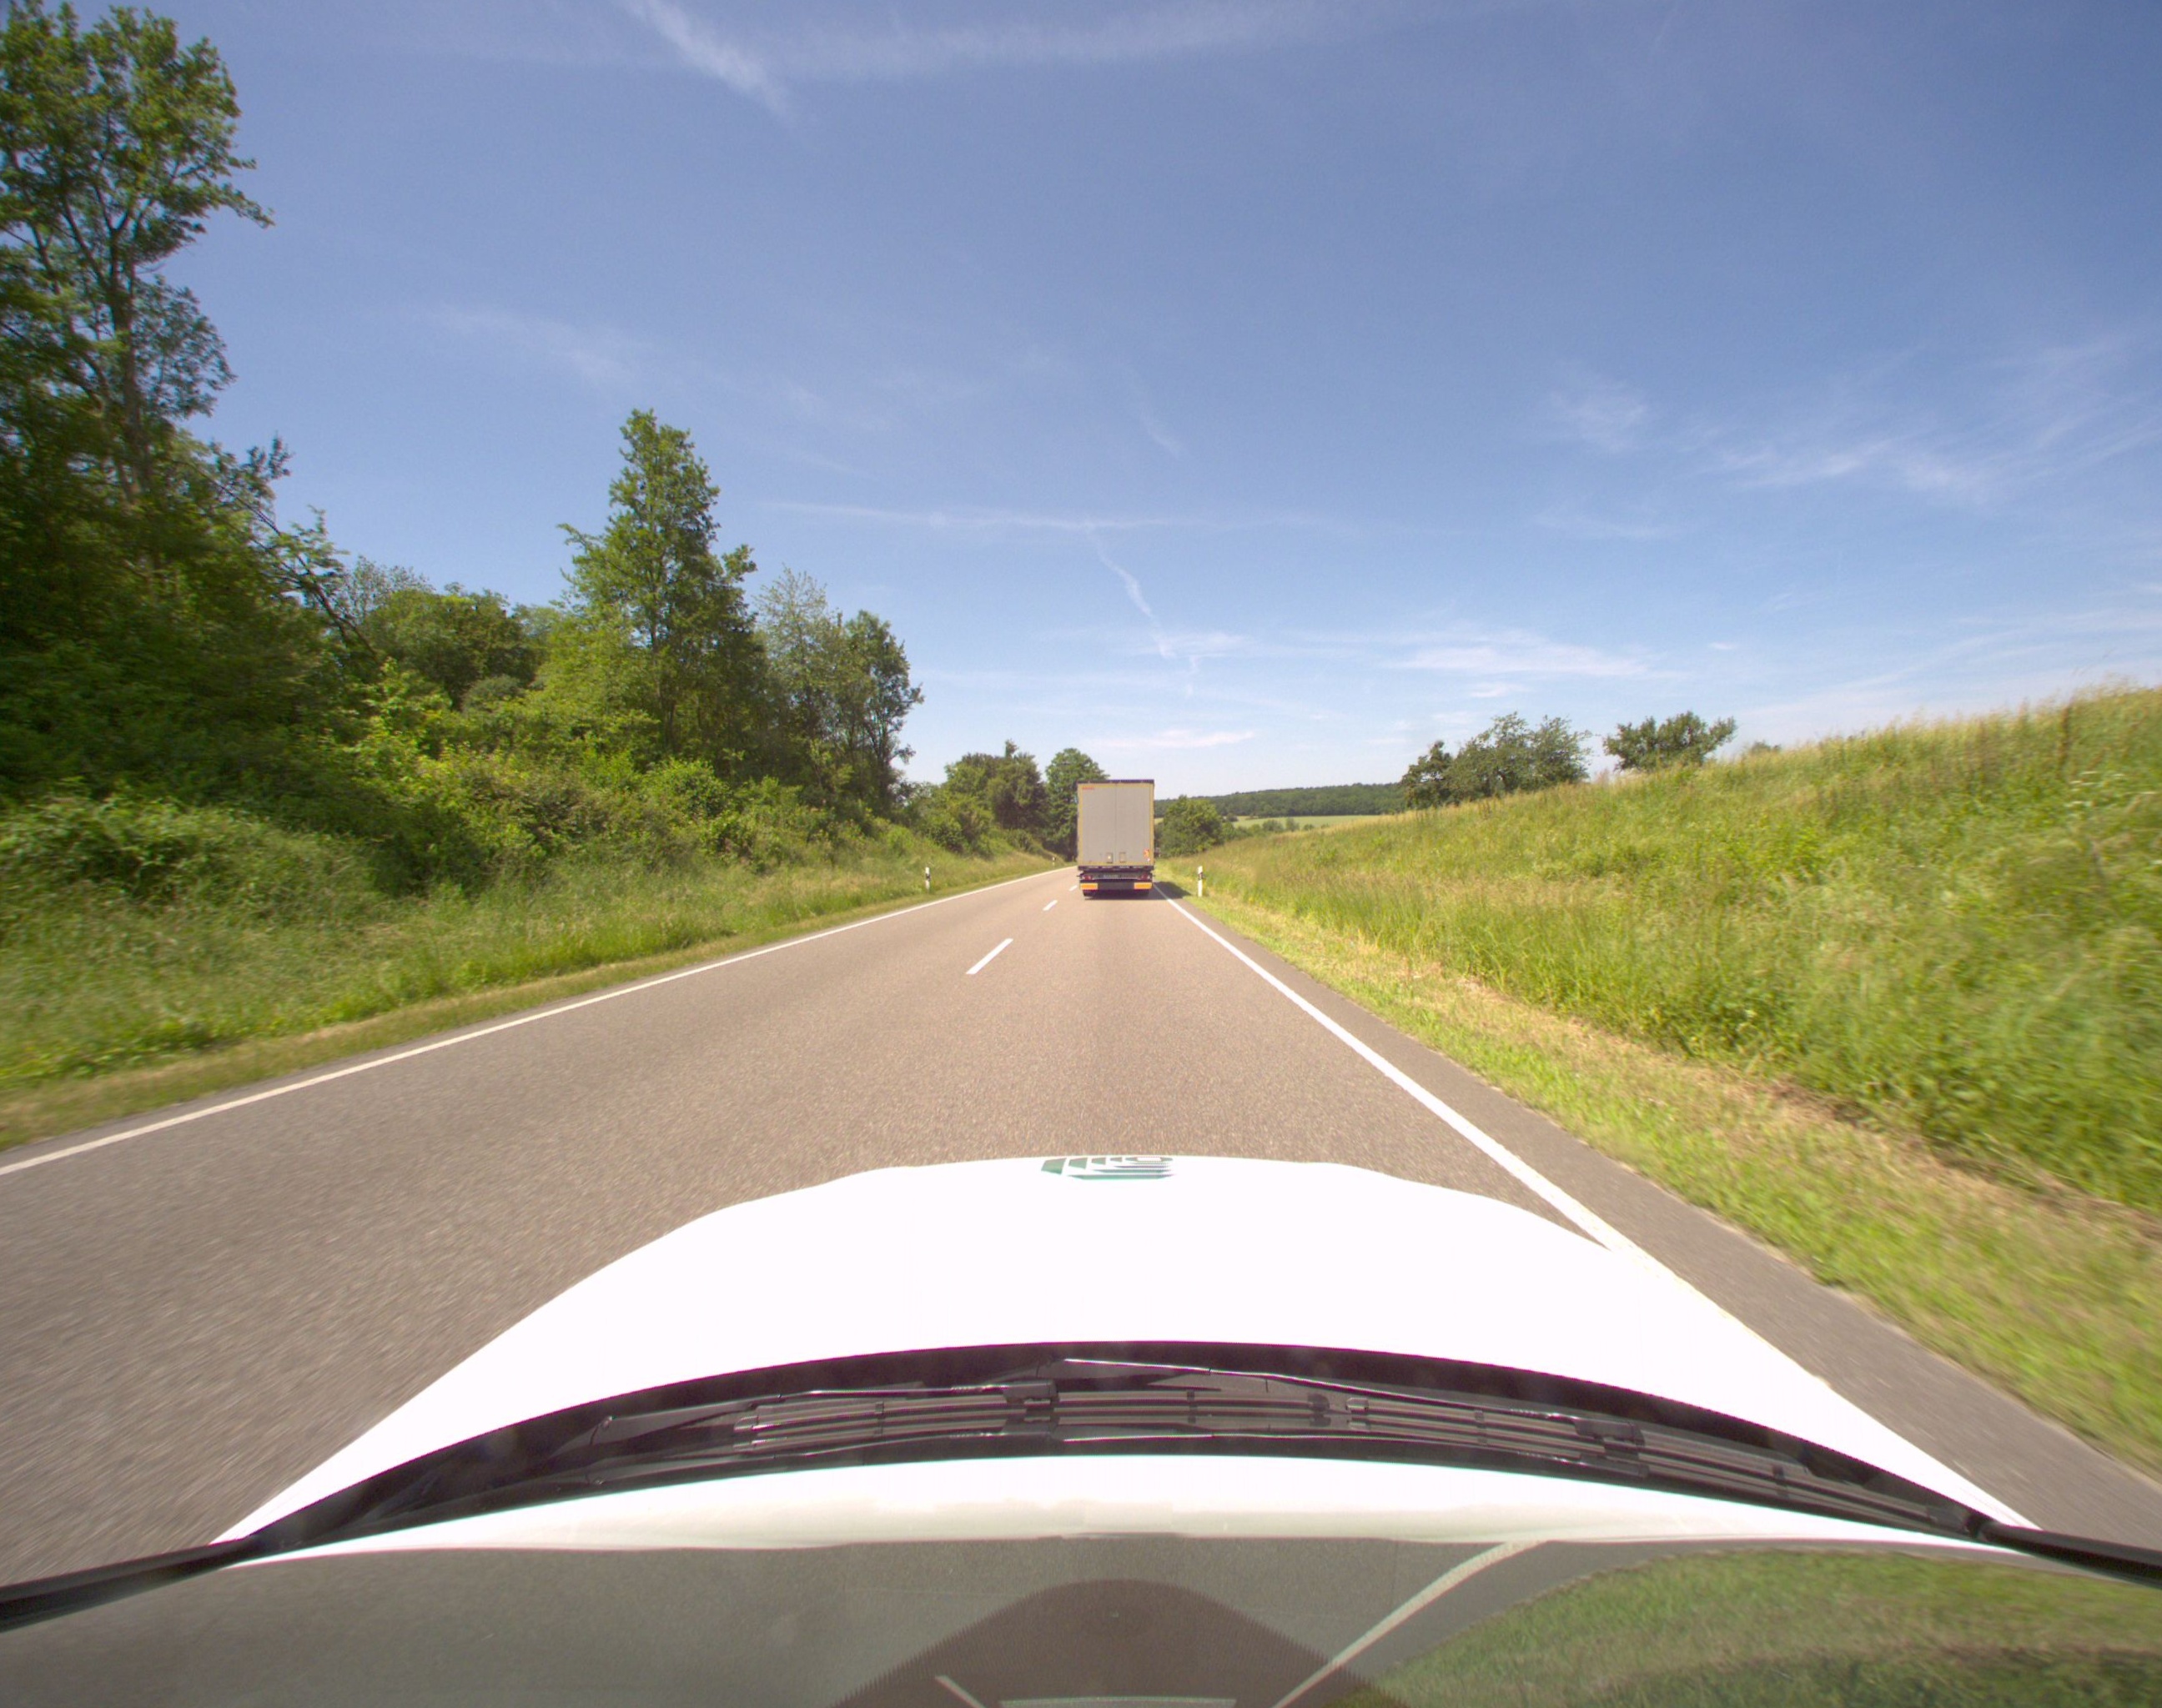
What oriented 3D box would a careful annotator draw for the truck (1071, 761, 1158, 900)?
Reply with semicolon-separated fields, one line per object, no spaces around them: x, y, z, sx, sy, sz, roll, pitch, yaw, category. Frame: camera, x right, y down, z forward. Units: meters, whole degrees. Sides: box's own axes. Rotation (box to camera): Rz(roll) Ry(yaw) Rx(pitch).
1.220;-0.793;32.573;2.807;4.532;11.770;0;0;1;truck
